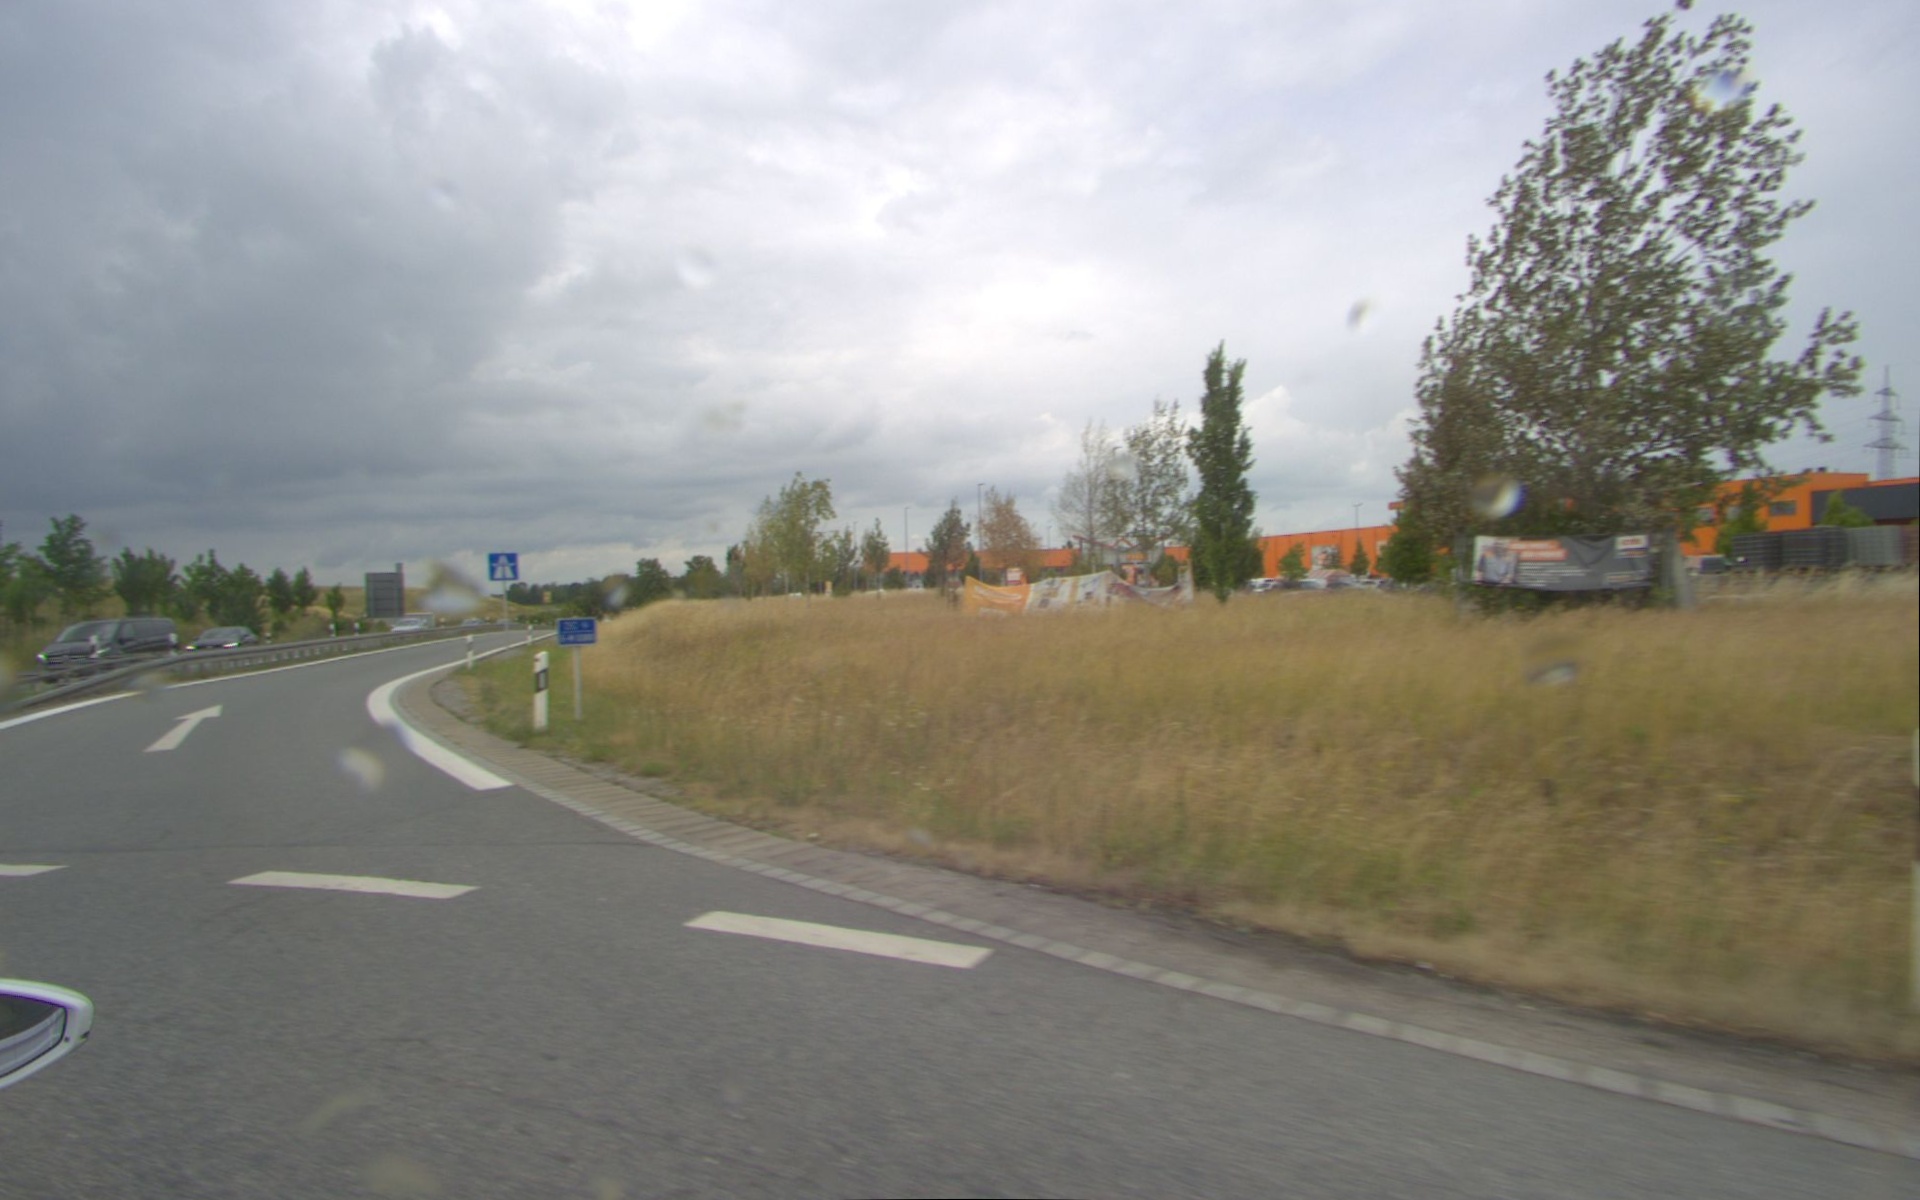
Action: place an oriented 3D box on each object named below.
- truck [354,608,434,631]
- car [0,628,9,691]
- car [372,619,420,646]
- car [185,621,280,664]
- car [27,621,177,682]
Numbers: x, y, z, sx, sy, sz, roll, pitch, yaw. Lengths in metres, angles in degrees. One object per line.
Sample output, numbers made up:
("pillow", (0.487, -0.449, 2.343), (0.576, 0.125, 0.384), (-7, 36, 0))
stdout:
("truck", (-124.325, 4.282, 220.338), (15.095, 5.026, 3.434), (0, 0, -27))
("car", (-23.157, 1.388, 21.653), (1.704, 1.511, 4.537), (0, -1, -14))
("car", (-39.392, 2.254, 70.055), (1.965, 1.706, 4.584), (-3, 0, -18))
("car", (-31.989, 1.823, 44.186), (1.965, 1.706, 4.584), (-3, 0, -18))
("car", (-27.286, 1.599, 32.068), (1.965, 1.706, 4.584), (-3, 0, -18))
